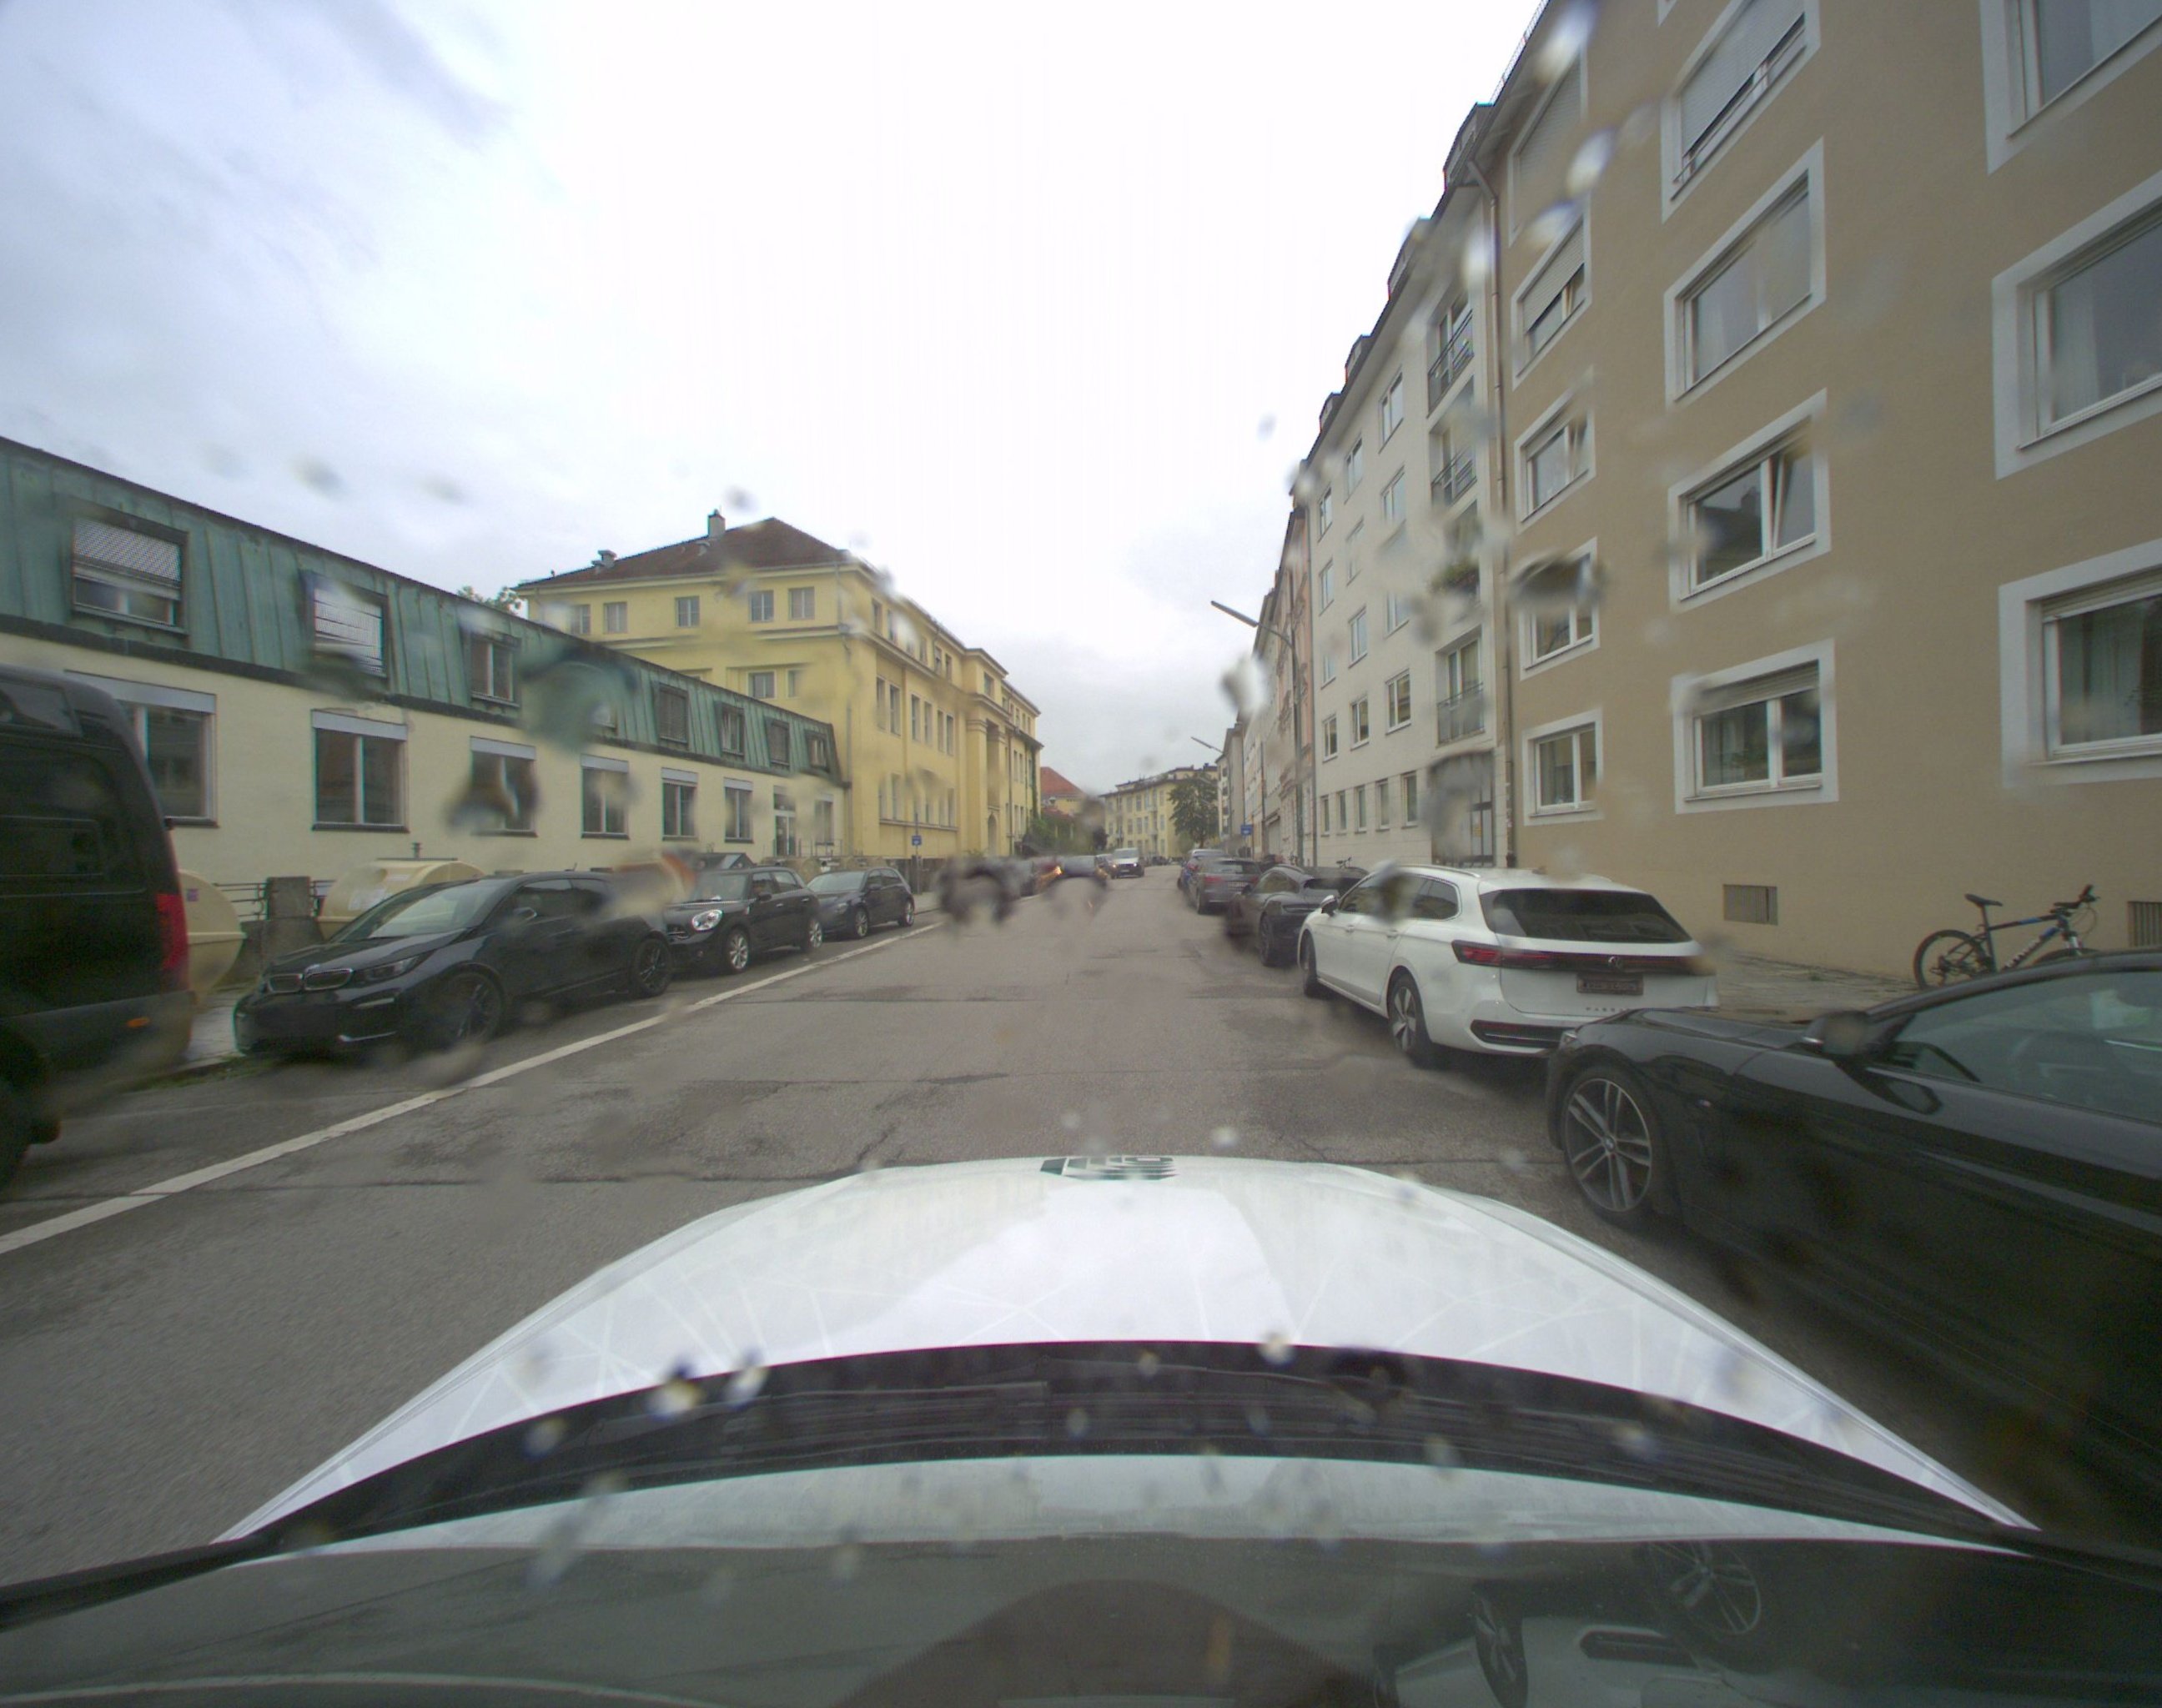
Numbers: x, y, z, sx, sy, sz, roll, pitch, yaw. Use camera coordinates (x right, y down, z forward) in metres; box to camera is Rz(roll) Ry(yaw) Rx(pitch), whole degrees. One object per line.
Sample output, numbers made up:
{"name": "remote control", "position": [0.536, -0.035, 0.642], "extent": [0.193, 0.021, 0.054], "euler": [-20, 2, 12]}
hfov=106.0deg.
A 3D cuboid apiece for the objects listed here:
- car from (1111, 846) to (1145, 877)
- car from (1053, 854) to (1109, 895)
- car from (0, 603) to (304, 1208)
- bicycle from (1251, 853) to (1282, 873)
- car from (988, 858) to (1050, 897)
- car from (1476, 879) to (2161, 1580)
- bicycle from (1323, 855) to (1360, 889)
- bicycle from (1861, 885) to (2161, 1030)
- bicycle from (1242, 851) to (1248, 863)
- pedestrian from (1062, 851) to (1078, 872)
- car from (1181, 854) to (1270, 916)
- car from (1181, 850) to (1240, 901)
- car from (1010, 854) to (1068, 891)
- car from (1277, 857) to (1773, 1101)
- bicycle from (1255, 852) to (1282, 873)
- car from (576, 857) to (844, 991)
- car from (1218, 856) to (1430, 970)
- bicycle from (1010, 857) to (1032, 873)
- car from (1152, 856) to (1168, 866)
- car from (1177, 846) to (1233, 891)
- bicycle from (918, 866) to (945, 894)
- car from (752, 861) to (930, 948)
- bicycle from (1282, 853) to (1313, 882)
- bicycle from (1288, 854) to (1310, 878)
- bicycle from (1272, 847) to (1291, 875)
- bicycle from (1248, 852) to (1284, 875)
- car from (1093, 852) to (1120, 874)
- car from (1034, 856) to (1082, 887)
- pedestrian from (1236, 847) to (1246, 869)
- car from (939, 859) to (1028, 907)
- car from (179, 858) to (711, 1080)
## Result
{"name": "car", "position": [3.030, 0.485, 51.777], "extent": [1.906, 1.848, 5.328], "euler": [-1, 0, 5]}
{"name": "car", "position": [0.066, 0.777, 32.384], "extent": [1.651, 1.474, 3.717], "euler": [-3, -1, 8]}
{"name": "car", "position": [-6.218, 0.280, 2.139], "extent": [2.205, 2.853, 6.197], "euler": [-4, -1, 1]}
{"name": "bicycle", "position": [10.573, 0.493, 46.386], "extent": [1.855, 1.067, 0.510], "euler": [-2, 0, -34]}
{"name": "car", "position": [-2.487, 0.927, 33.619], "extent": [1.741, 1.405, 4.361], "euler": [-4, -1, 5]}
{"name": "car", "position": [3.100, 0.844, 2.072], "extent": [1.752, 1.365, 4.778], "euler": [3, -1, -1]}
{"name": "bicycle", "position": [8.693, 0.593, 27.283], "extent": [0.527, 1.072, 1.999], "euler": [-1, 0, -2]}
{"name": "bicycle", "position": [7.992, 0.826, 7.123], "extent": [0.673, 1.033, 1.754], "euler": [-2, 0, 2]}
{"name": "bicycle", "position": [17.346, 0.354, 85.947], "extent": [0.526, 1.218, 2.108], "euler": [-1, -1, 9]}
{"name": "pedestrian", "position": [-0.929, 0.615, 68.702], "extent": [0.893, 1.719, 1.065], "euler": [-3, 0, 25]}
{"name": "car", "position": [3.756, 0.738, 21.830], "extent": [1.699, 1.454, 4.404], "euler": [1, 0, 2]}
{"name": "car", "position": [4.204, 0.637, 26.614], "extent": [1.732, 1.494, 4.558], "euler": [-1, 0, 8]}
{"name": "car", "position": [-1.882, 0.838, 38.250], "extent": [1.948, 1.482, 4.537], "euler": [-4, -1, 6]}
{"name": "car", "position": [3.284, 0.764, 7.427], "extent": [1.847, 1.414, 5.015], "euler": [-1, 0, 1]}
{"name": "bicycle", "position": [10.548, 0.474, 45.785], "extent": [0.614, 1.089, 1.825], "euler": [-2, 0, 43]}
{"name": "car", "position": [-5.679, 0.966, 13.216], "extent": [1.904, 1.587, 4.359], "euler": [-5, 0, 5]}
{"name": "car", "position": [3.512, 0.768, 12.898], "extent": [1.947, 1.414, 5.115], "euler": [-1, 0, 2]}
{"name": "bicycle", "position": [-4.835, 0.909, 65.872], "extent": [1.616, 1.268, 0.528], "euler": [-2, 0, 9]}
{"name": "car", "position": [15.788, 1.414, 162.647], "extent": [1.764, 1.874, 4.359], "euler": [3, -1, -13]}
{"name": "car", "position": [4.781, 0.537, 31.886], "extent": [1.675, 1.673, 3.804], "euler": [0, 0, 1]}
{"name": "bicycle", "position": [-6.838, 1.183, 37.265], "extent": [0.532, 1.185, 2.111], "euler": [-1, 0, 8]}
{"name": "car", "position": [-5.059, 1.004, 17.950], "extent": [1.902, 1.482, 4.543], "euler": [-4, 0, 9]}
{"name": "bicycle", "position": [8.680, 0.545, 32.755], "extent": [0.720, 1.112, 1.995], "euler": [-1, 0, 0]}
{"name": "bicycle", "position": [9.613, 0.508, 35.973], "extent": [0.593, 1.024, 1.820], "euler": [-2, 0, 5]}
{"name": "bicycle", "position": [10.231, 0.359, 41.642], "extent": [0.593, 1.385, 2.095], "euler": [-2, 0, 5]}
{"name": "bicycle", "position": [9.911, 0.502, 43.567], "extent": [2.101, 1.139, 0.578], "euler": [-2, 0, -36]}
{"name": "car", "position": [2.107, 0.743, 66.616], "extent": [1.737, 1.634, 4.864], "euler": [-3, -1, 6]}
{"name": "car", "position": [-1.189, 0.917, 43.911], "extent": [1.784, 1.429, 4.673], "euler": [-5, -1, 7]}
{"name": "pedestrian", "position": [13.198, 0.341, 67.102], "extent": [0.718, 1.764, 0.907], "euler": [-1, -3, 9]}
{"name": "car", "position": [-3.316, 0.956, 28.634], "extent": [2.004, 1.418, 4.624], "euler": [-4, -1, 6]}
{"name": "car", "position": [-6.135, 0.952, 8.724], "extent": [1.870, 1.636, 4.357], "euler": [-4, 0, 7]}
